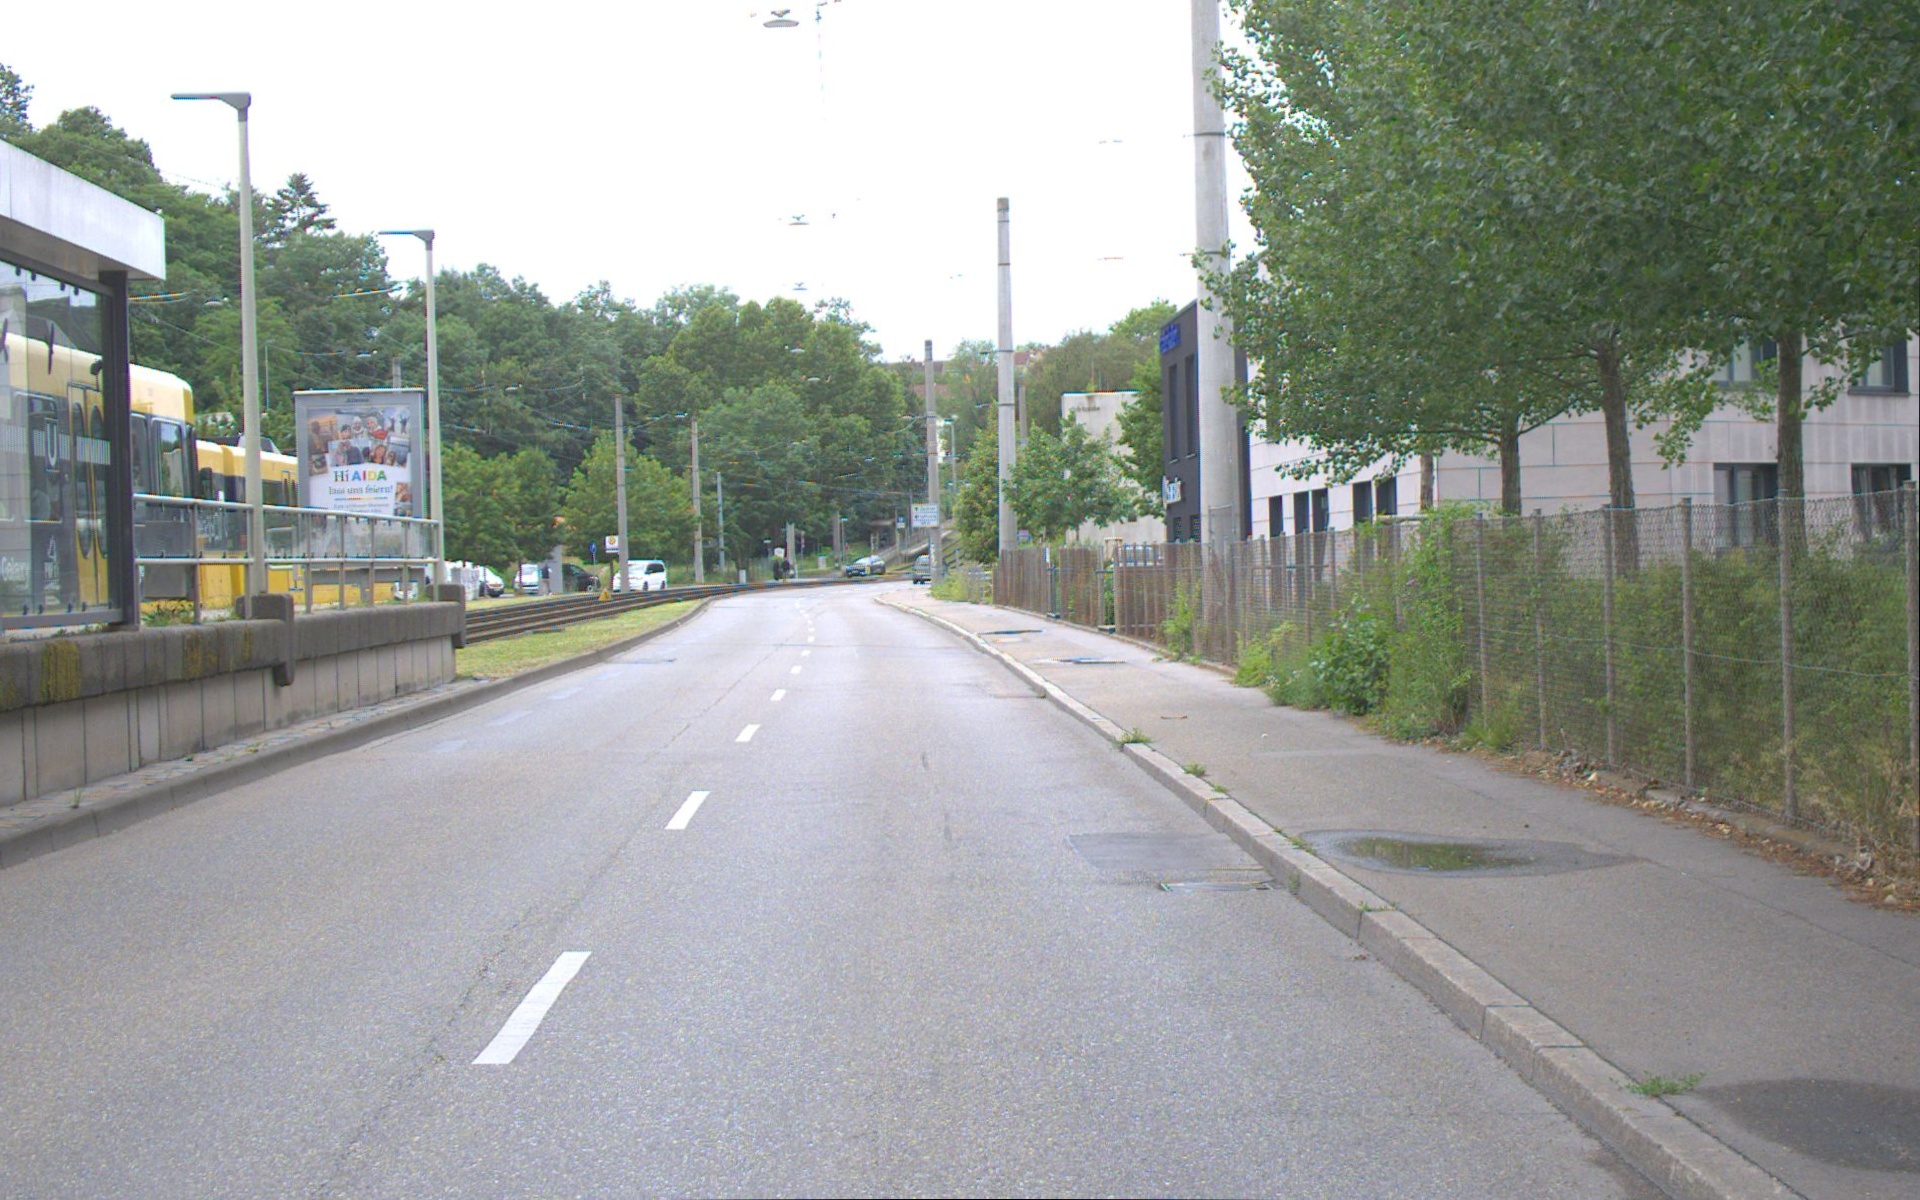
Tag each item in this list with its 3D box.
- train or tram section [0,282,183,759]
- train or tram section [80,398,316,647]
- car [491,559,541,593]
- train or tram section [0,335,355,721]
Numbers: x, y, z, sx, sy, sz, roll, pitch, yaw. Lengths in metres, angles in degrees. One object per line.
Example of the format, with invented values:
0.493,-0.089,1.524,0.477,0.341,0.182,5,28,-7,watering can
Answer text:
-9.361,-0.663,29.858,2.740,3.953,11.913,-2,1,-2,train or tram section
-12.639,-1.201,57.736,1.993,3.783,9.179,-2,0,-1,train or tram section
-26.411,-1.414,204.555,1.828,1.700,4.141,-2,-3,9,car
-9.664,-0.861,41.819,2.971,4.051,10.197,-2,1,-2,train or tram section
